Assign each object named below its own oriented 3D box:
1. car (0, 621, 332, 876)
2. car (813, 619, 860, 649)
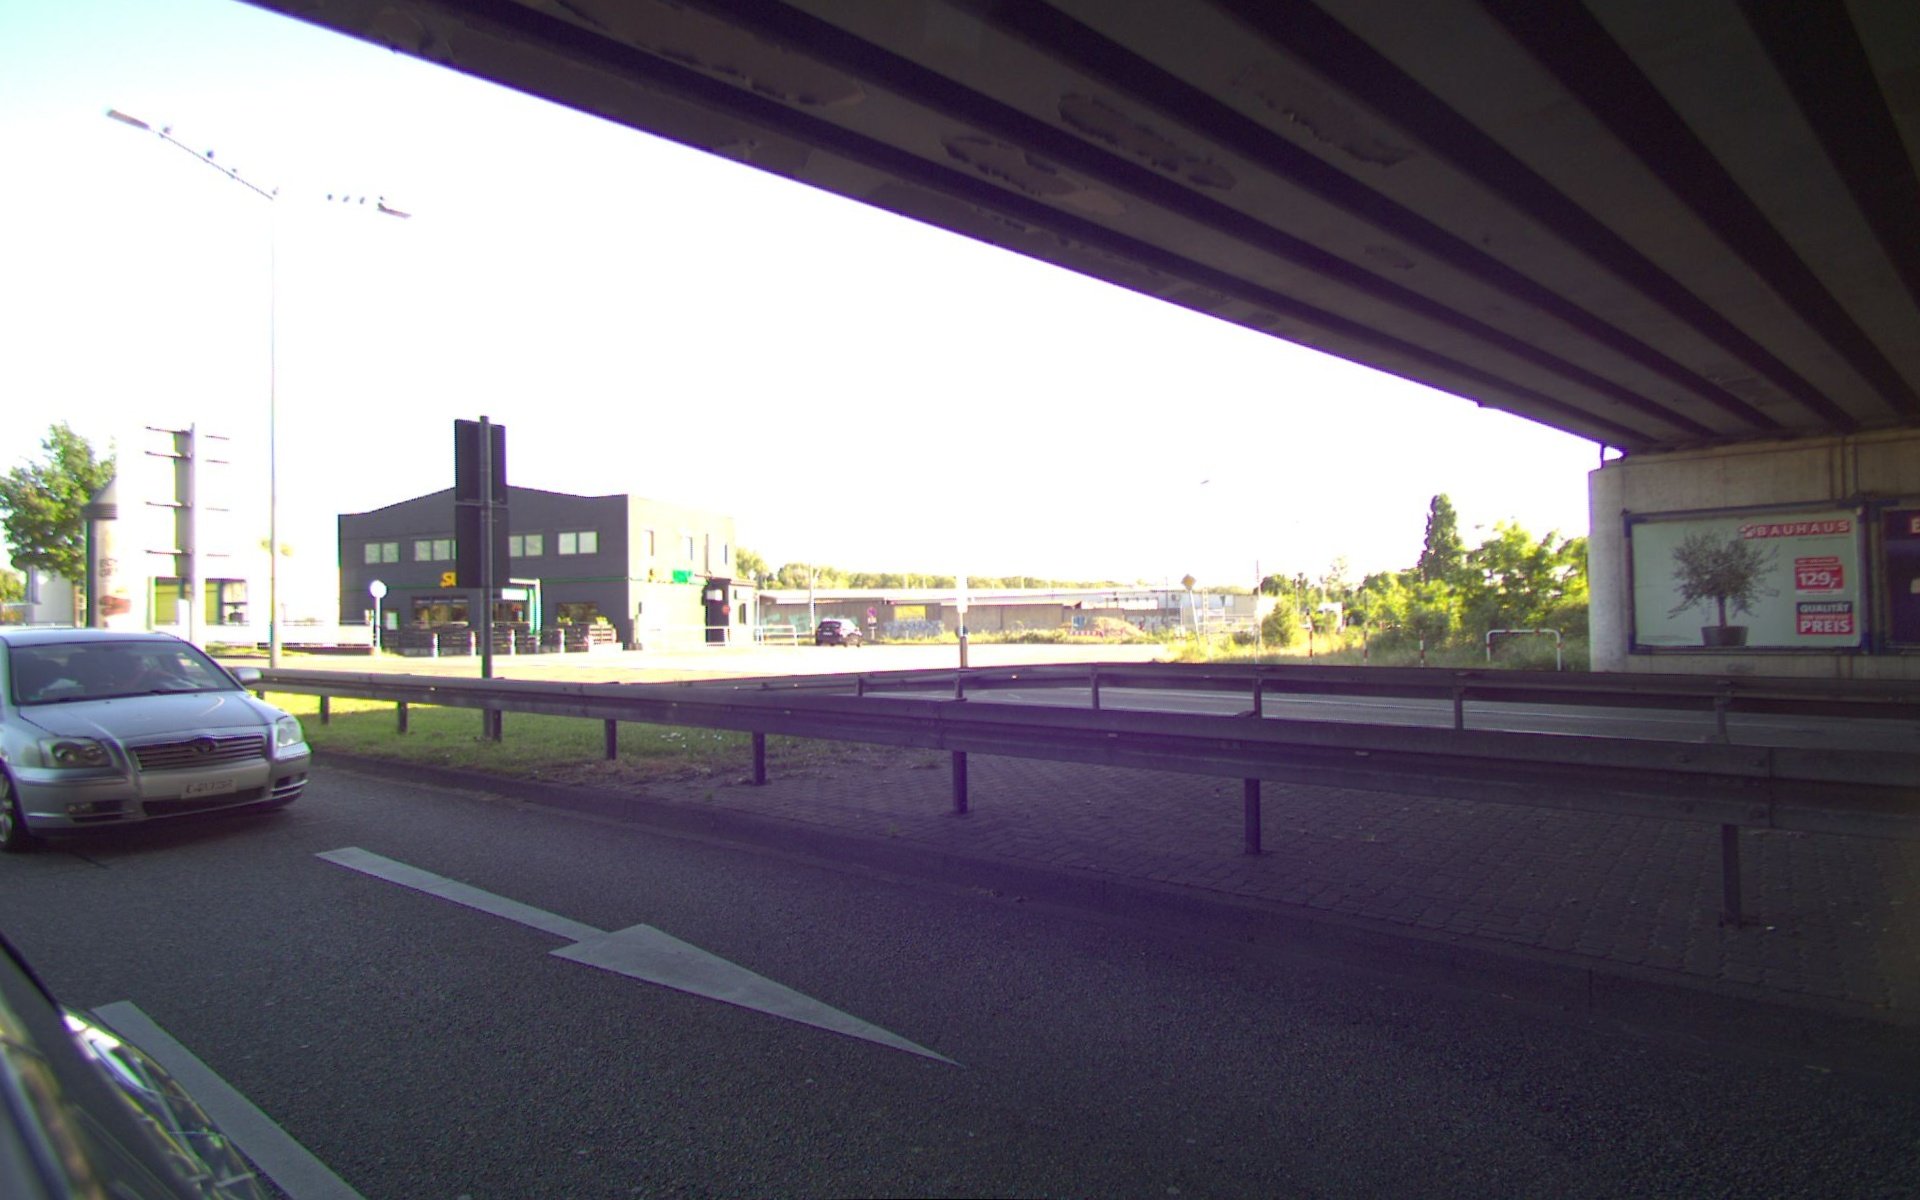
[{"bbox_3d":[-6.946,0.950,7.951,4.384,1.466,1.683,-2,0,33],"label":"car"},{"bbox_3d":[-6.655,1.809,54.947,1.859,1.453,3.996,-1,0,3],"label":"car"}]
